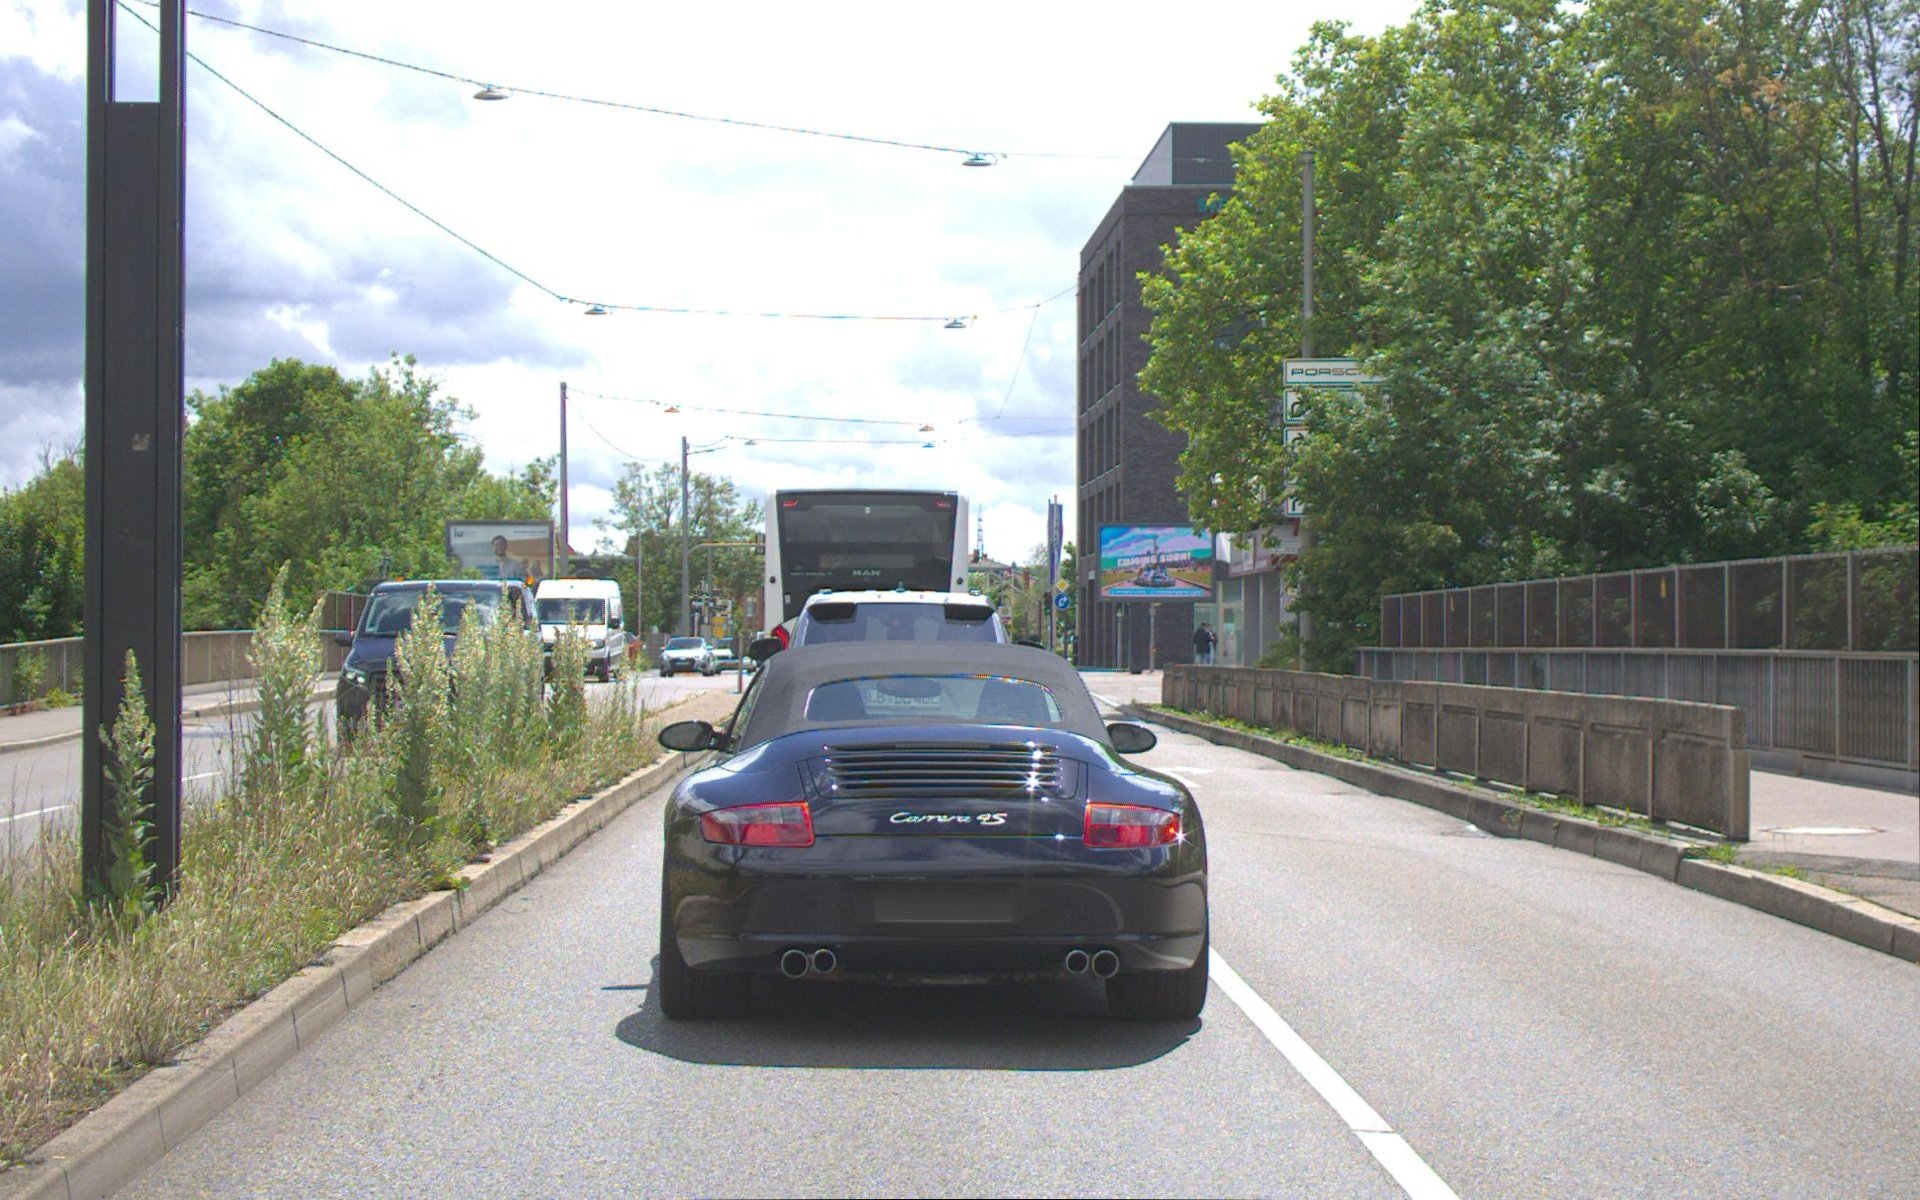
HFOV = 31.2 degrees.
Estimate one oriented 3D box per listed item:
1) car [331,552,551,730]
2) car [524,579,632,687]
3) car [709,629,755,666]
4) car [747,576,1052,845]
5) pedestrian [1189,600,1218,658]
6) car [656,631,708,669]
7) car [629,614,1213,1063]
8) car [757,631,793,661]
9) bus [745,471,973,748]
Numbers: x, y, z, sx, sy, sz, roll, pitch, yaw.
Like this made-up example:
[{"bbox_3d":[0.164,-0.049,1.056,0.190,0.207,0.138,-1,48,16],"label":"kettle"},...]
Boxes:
[{"bbox_3d":[-5.807,0.423,38.956,1.993,1.882,4.869,0,0,-3],"label":"car"},{"bbox_3d":[-9.548,0.808,86.399,2.066,2.562,6.822,-1,0,-1],"label":"car"},{"bbox_3d":[-9.767,2.041,147.692,1.810,1.555,4.207,1,-1,-2],"label":"car"},{"bbox_3d":[-0.407,0.683,23.813,1.879,1.588,4.230,2,1,-1],"label":"car"},{"bbox_3d":[7.187,0.852,101.585,0.681,1.690,0.597,0,-1,24],"label":"pedestrian"},{"bbox_3d":[-10.207,1.830,126.397,1.637,1.359,4.195,0,0,-1],"label":"car"},{"bbox_3d":[-0.310,0.764,12.795,1.719,1.271,4.089,1,1,-7],"label":"car"},{"bbox_3d":[-8.990,2.227,167.094,1.628,1.426,4.000,0,-1,-1],"label":"car"},{"bbox_3d":[-1.257,-0.107,48.061,2.689,3.244,12.059,2,2,0],"label":"bus"}]
